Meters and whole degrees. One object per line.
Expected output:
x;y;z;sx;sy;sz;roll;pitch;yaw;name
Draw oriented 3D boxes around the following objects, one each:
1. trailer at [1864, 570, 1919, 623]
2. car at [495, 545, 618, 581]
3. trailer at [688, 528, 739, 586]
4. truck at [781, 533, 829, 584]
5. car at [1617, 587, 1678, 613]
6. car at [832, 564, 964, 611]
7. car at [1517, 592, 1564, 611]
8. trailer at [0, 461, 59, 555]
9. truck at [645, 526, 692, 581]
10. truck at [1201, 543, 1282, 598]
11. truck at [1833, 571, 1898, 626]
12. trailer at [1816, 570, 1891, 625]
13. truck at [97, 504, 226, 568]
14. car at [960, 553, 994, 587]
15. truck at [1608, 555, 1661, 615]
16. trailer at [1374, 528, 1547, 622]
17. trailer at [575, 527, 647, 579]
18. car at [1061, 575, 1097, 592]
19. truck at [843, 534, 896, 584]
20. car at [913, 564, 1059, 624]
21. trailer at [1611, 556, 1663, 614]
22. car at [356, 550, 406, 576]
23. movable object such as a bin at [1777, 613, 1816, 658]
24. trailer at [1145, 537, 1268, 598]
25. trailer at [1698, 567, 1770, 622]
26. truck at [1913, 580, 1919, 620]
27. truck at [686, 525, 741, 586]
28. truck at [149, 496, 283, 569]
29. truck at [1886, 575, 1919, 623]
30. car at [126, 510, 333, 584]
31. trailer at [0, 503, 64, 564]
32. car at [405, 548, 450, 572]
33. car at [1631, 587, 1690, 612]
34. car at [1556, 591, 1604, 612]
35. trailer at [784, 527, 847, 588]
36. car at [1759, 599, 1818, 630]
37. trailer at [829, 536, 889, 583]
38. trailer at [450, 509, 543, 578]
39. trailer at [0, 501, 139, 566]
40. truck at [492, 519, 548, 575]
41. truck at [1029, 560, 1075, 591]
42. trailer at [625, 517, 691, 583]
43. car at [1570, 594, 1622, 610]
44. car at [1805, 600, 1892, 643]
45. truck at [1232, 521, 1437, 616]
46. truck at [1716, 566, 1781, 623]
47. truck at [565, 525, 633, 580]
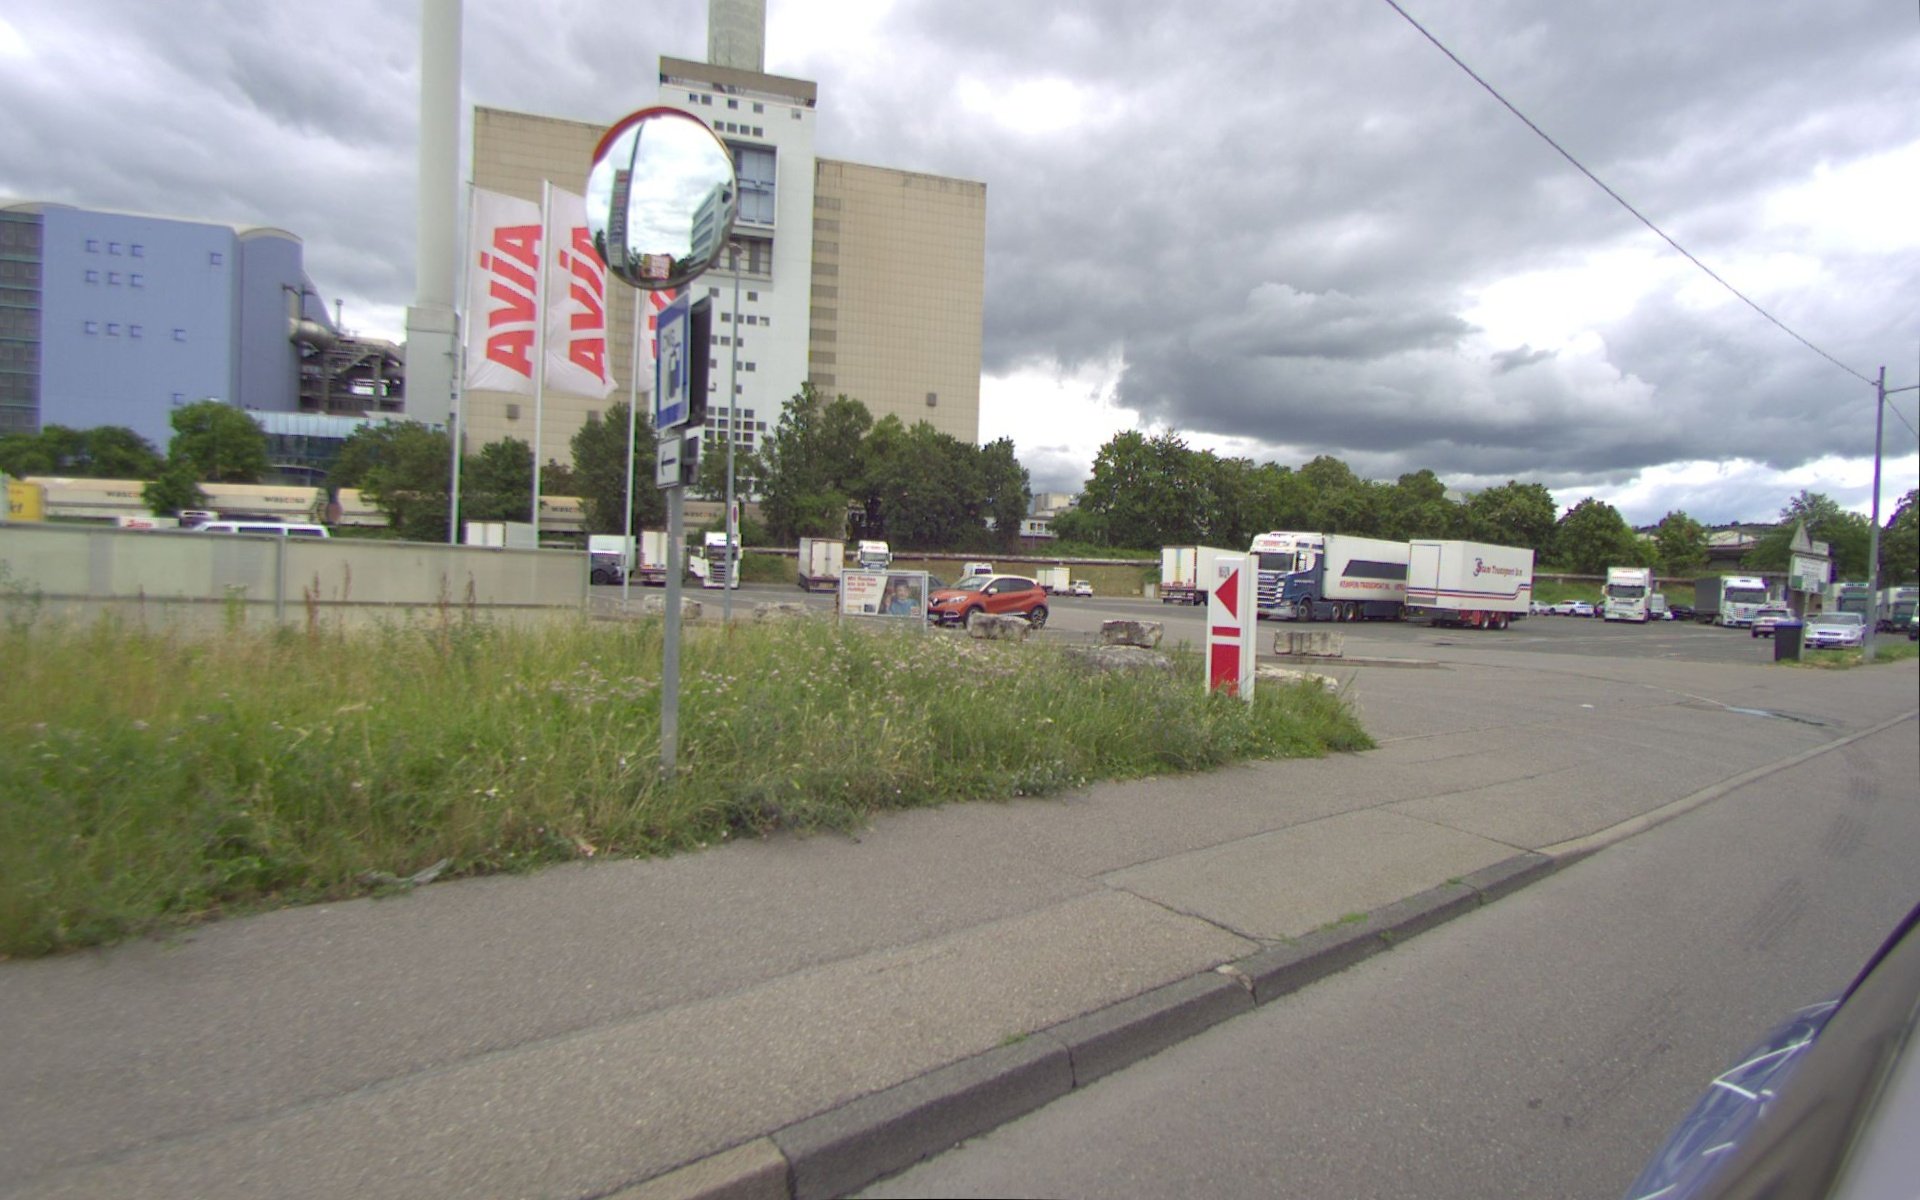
80.410;-0.281;86.348;2.821;4.145;13.233;4;2;34;trailer
-17.615;-1.618;44.297;4.602;1.386;1.988;1;2;-41;car
-20.376;-3.526;84.132;3.566;4.140;18.543;2;2;-13;trailer
-14.005;-3.701;90.990;3.634;4.224;7.272;2;1;-12;truck
70.998;-0.073;104.604;2.322;2.479;4.929;2;1;-8;car
-2.028;-0.396;33.825;4.141;1.407;1.769;0;4;-41;car
58.801;0.132;102.655;1.958;1.628;4.008;2;2;-10;car
-47.401;-4.059;39.806;17.757;3.963;2.696;0;2;-41;trailer
-25.277;-4.006;88.125;3.474;4.487;6.668;1;1;-13;truck
21.827;-2.239;78.209;3.612;3.927;7.159;3;2;37;truck
72.012;-0.159;80.635;2.857;4.062;6.672;4;2;35;truck
75.390;-0.236;85.658;2.821;4.145;13.233;4;2;34;trailer
-59.386;-4.625;75.712;2.812;4.344;12.005;1;2;-14;truck
1.466;-2.631;89.350;2.065;2.871;5.096;2;2;-9;car
50.529;-1.127;75.699;2.858;4.145;6.669;4;2;36;truck
23.955;-1.113;48.142;10.212;4.015;2.967;1;3;-38;trailer
-28.110;-3.725;82.490;3.566;3.590;18.543;2;2;-13;trailer
10.887;-1.498;92.915;1.958;1.371;4.158;2;2;-13;car
-7.999;-3.538;88.060;3.634;4.013;7.272;2;1;-12;truck
0.816;-0.182;29.940;4.141;1.590;1.769;0;3;-41;car
54.066;-1.155;80.617;2.824;4.145;13.223;4;2;36;trailer
-39.819;-2.548;69.701;1.948;1.620;4.701;2;2;-17;car
21.746;0.911;26.300;0.714;1.095;0.652;3;1;44;movable object such as a bin
18.026;-2.237;72.961;3.621;3.959;13.559;3;2;36;trailer
65.077;-0.517;85.346;2.817;4.145;13.256;4;2;30;trailer
89.727;0.027;91.805;2.809;3.757;9.001;2;1;32;truck
-18.285;-3.252;75.156;3.633;4.171;7.273;2;1;-13;truck
-49.477;-4.317;67.869;2.812;4.344;12.005;1;2;-14;truck
76.885;-0.028;81.113;2.857;3.674;6.672;4;2;35;truck
-21.837;-1.529;30.368;4.864;1.936;1.988;1;2;-41;car
-70.486;-4.800;73.073;3.484;4.356;12.609;1;2;-15;trailer
-37.869;-2.849;72.104;1.948;1.620;4.701;2;2;-17;car
73.380;-0.077;106.095;2.322;2.479;4.929;2;1;-8;car
63.326;0.149;103.492;1.958;1.896;4.008;2;2;-10;car
-11.950;-3.375;81.852;3.566;4.224;18.542;2;2;-12;trailer
43.657;0.747;53.325;3.929;1.591;1.768;1;0;-41;car
-9.944;-3.839;96.990;3.566;4.007;18.542;2;2;-12;trailer
-34.964;-4.117;77.265;3.484;4.556;18.333;1;2;-15;trailer
-66.182;-4.761;74.991;3.484;4.356;12.609;1;2;-15;trailer
-37.390;-4.435;86.244;3.473;4.487;6.669;1;1;-15;truck
8.423;-2.265;93.131;2.233;2.520;5.974;2;3;-14;truck
-23.327;-3.736;79.138;3.484;4.556;18.330;1;2;-12;trailer
65.779;0.223;104.753;1.959;1.457;4.729;2;1;-8;car
33.687;0.791;38.334;4.479;1.482;1.777;1;2;-40;car
18.241;-1.390;48.504;12.836;4.015;3.083;1;4;-40;truck
61.537;-0.447;79.106;2.851;4.145;6.685;4;2;30;truck
-26.093;-3.400;73.554;3.634;3.601;7.272;2;1;-12;truck
